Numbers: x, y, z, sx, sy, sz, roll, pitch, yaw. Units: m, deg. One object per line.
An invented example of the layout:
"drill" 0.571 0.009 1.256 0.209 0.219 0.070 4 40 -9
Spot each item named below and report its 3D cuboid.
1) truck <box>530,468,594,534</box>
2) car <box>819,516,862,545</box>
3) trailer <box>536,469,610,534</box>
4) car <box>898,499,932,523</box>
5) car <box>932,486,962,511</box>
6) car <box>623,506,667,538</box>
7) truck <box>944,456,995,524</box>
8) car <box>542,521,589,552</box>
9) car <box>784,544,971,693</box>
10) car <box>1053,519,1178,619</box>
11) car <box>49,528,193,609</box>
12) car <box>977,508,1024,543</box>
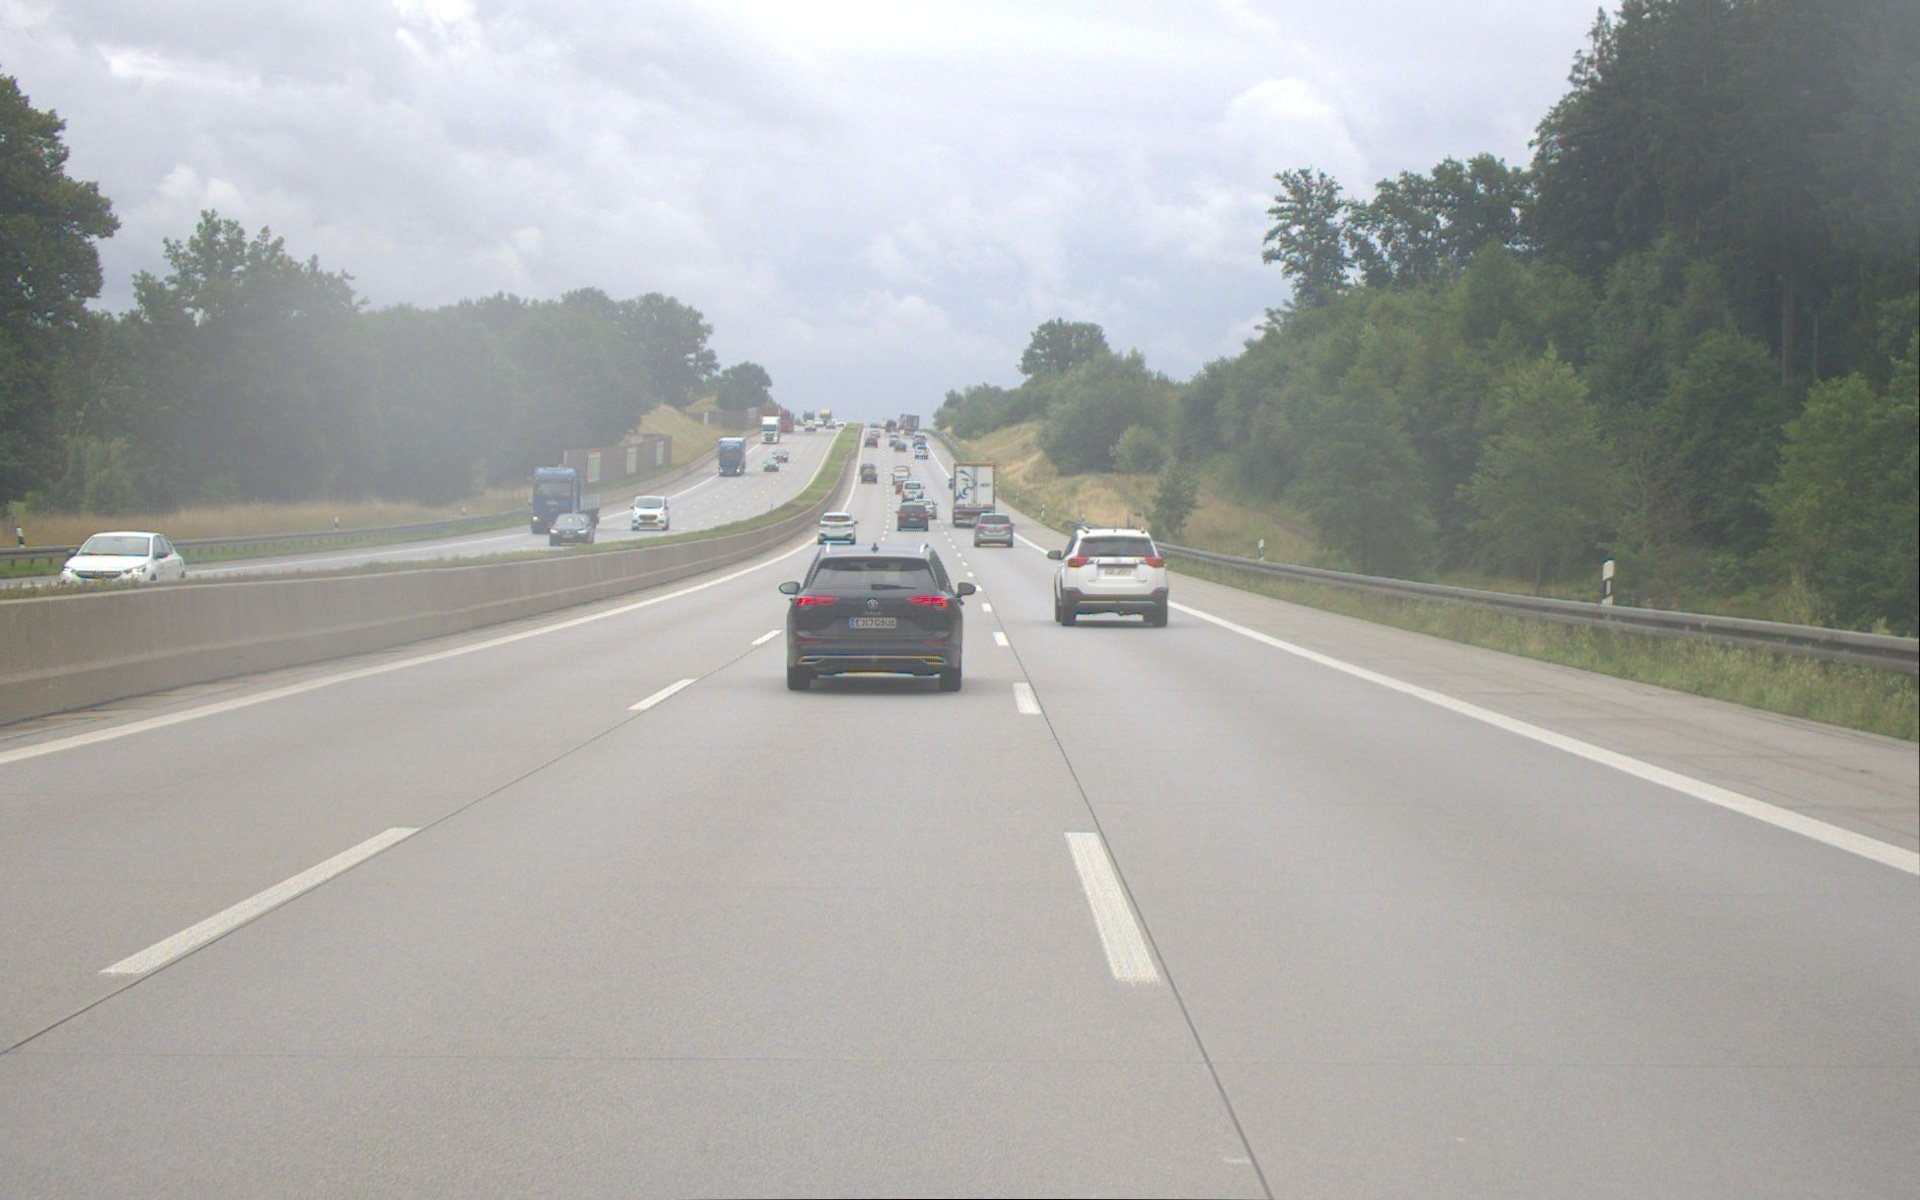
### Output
"truck" -21.834 -5.394 188.762 2.756 3.504 6.641 1 1 -1
"car" -5.812 -3.393 167.751 1.947 1.351 4.259 0 0 0
"trailer" -21.960 -5.584 195.648 2.785 3.495 13.887 1 1 -1
"car" -2.689 -5.343 206.029 1.935 1.370 4.595 1 2 0
"car" -0.909 -7.194 242.782 1.993 1.634 4.001 1 3 1
"car" -18.221 -4.508 199.280 2.088 1.795 5.498 1 1 -1
"truck" 0.575 -7.022 218.643 3.017 4.165 8.356 1 3 -1
"car" -18.061 -2.910 157.642 1.847 1.372 4.438 1 1 -3
"car" -0.777 0.147 34.939 1.752 1.393 4.484 1 1 0
"car" 2.638 -0.556 59.105 1.825 1.650 3.985 0 1 -2
"car" -16.226 -0.632 66.678 1.783 1.463 4.372 0 2 -1
"car" 1.908 -3.540 163.466 1.993 1.525 4.001 3 1 -2
